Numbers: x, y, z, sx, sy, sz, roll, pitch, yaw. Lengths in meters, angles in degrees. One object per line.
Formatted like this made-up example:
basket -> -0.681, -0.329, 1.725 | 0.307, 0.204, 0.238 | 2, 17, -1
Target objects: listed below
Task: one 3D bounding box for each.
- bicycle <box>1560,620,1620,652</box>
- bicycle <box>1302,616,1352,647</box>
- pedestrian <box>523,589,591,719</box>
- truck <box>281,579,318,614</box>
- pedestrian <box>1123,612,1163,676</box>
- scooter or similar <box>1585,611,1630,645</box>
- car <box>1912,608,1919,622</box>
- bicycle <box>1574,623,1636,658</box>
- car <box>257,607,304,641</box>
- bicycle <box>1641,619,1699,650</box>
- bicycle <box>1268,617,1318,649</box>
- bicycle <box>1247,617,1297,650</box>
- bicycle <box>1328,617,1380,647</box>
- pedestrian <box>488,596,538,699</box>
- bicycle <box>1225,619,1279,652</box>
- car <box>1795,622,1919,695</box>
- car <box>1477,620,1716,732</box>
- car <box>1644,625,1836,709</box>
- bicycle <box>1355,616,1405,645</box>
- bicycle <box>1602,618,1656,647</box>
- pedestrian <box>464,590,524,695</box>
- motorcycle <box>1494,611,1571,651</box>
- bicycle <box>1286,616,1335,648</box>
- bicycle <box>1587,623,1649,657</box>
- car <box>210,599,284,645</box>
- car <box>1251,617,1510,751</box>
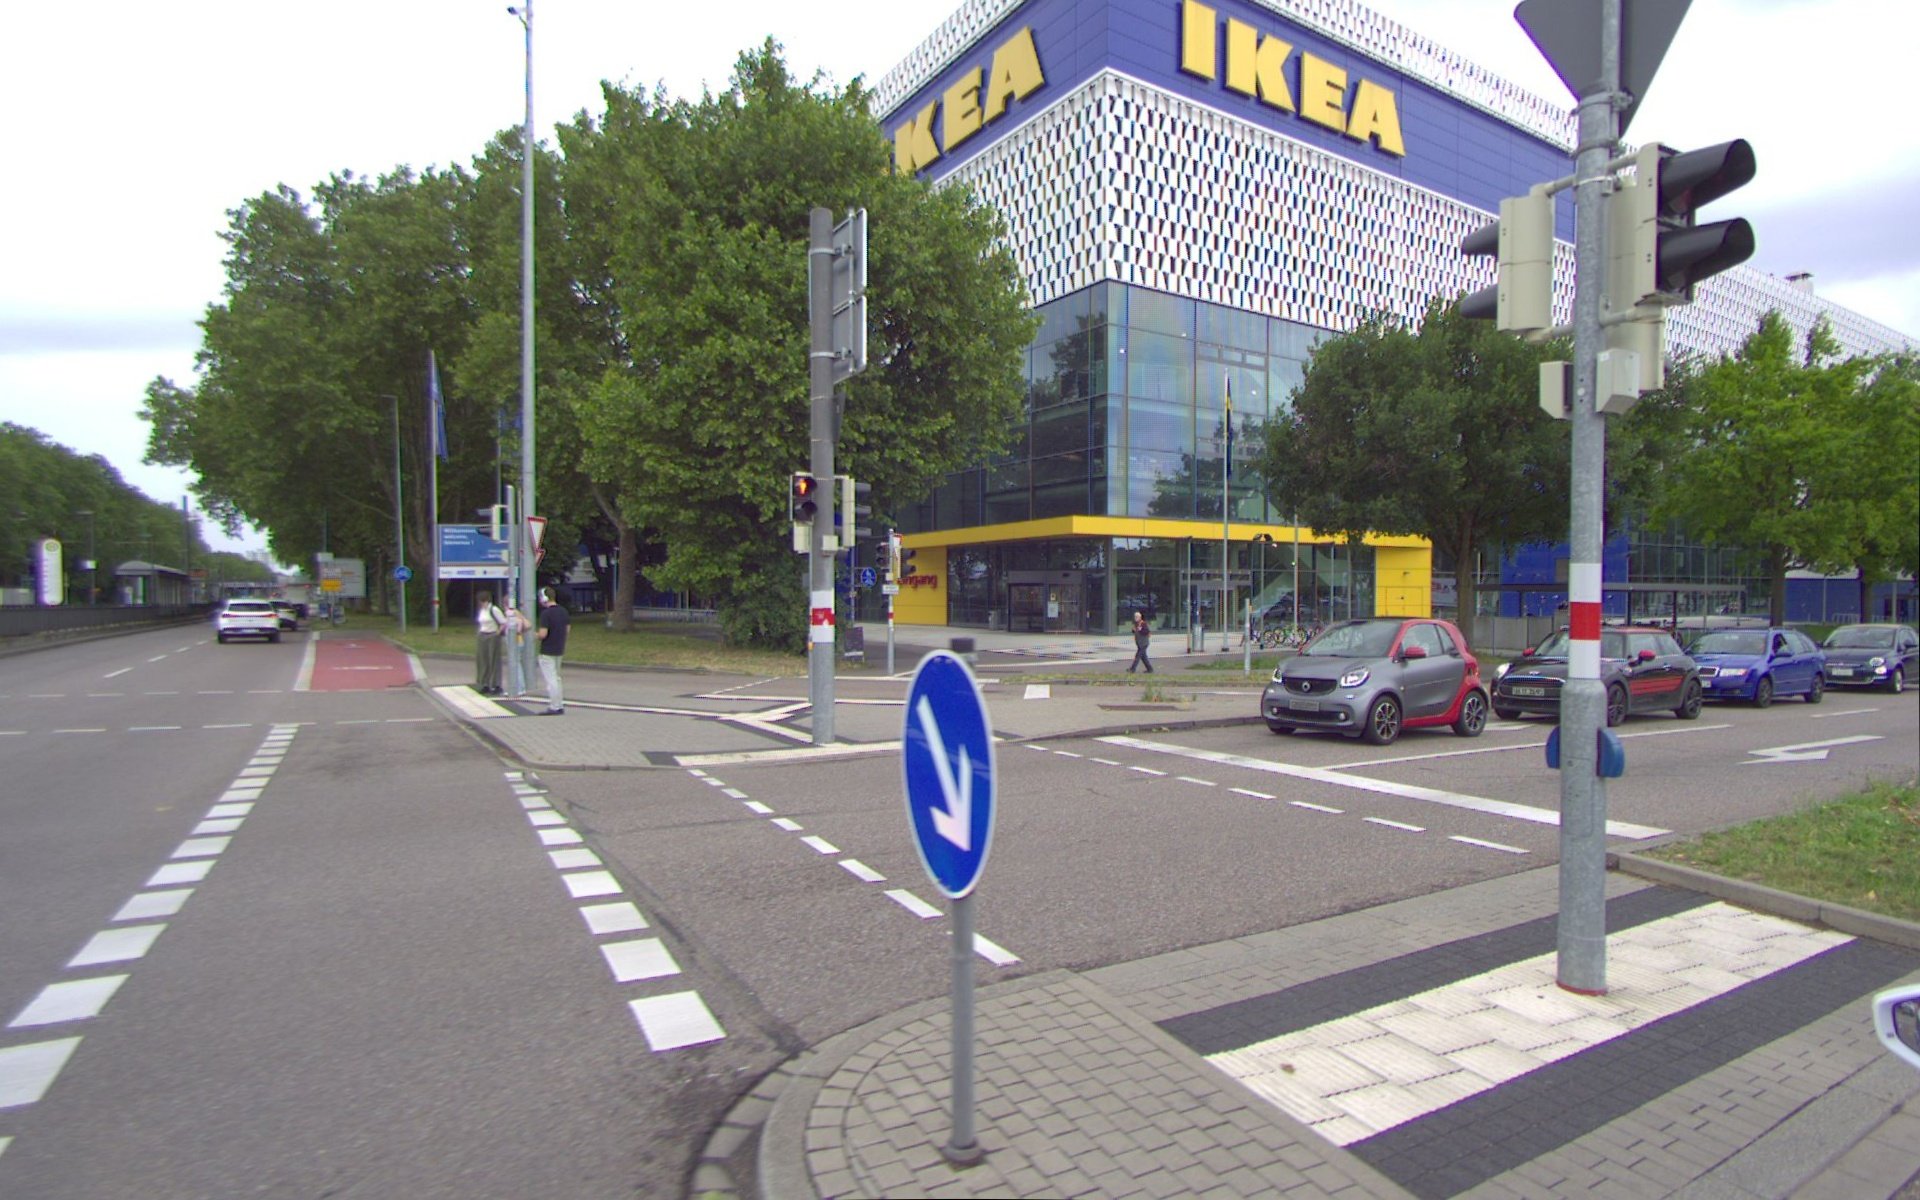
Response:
bicycle -> 25.785, 1.449, 41.140 | 0.587, 1.172, 2.005 | 0, 3, -30
bicycle -> 15.476, 1.321, 42.407 | 0.587, 1.172, 2.004 | 0, 2, -32
pedestrian -> -5.757, 0.771, 14.384 | 0.674, 1.788, 0.664 | 3, -3, -8
truck -> -75.091, -0.330, 114.304 | 3.227, 3.712, 9.807 | 2, -1, -33
pedestrian -> 4.920, 1.179, 26.984 | 0.801, 1.664, 0.629 | 2, 0, -34
scooter or similar -> 23.694, 1.013, 36.754 | 1.322, 1.164, 0.424 | 2, 2, 1
car -> 125.812, 2.000, 129.829 | 1.860, 1.770, 3.738 | -2, 2, -33
bicycle -> 24.643, 1.530, 38.404 | 0.587, 1.172, 1.884 | 0, 3, -30
car -> -35.262, 1.228, 52.086 | 1.781, 1.606, 4.099 | 3, -1, -37
bicycle -> 29.764, 1.436, 42.144 | 0.584, 1.172, 2.015 | 1, 2, -16
bicycle -> 13.609, 1.327, 41.156 | 0.587, 1.172, 2.004 | 0, 2, -32
bicycle -> 12.627, 1.331, 40.671 | 0.587, 1.172, 2.004 | 0, 2, -32
bicycle -> 16.871, 1.362, 43.083 | 0.589, 1.172, 1.996 | -1, 3, -43
pedestrian -> -7.789, 0.812, 17.497 | 0.756, 1.734, 0.671 | 1, 0, -27
bicycle -> 11.553, 1.377, 39.784 | 1.994, 1.172, 0.590 | 3, 3, 43
car -> 20.998, 1.289, 23.107 | 3.992, 1.517, 1.594 | 0, -1, -32
car -> 10.015, 1.101, 15.729 | 4.021, 1.523, 1.652 | 1, 0, -33
car -> 14.989, 1.216, 19.254 | 4.097, 1.463, 1.594 | 1, -2, -32
bicycle -> 18.561, 1.326, 44.437 | 0.588, 1.172, 2.001 | 0, 2, -37
bicycle -> 28.839, 1.386, 43.320 | 0.587, 1.097, 1.800 | 0, 3, -30
pedestrian -> -8.339, 0.740, 17.967 | 0.761, 1.821, 0.667 | 2, 0, -44
motorcycle -> 22.596, 1.203, 39.673 | 0.794, 1.374, 2.468 | -1, 3, -43
bicycle -> 14.544, 1.323, 41.722 | 0.587, 1.172, 2.004 | 0, 2, -32
bicycle -> 25.521, 1.548, 38.989 | 0.587, 1.172, 1.884 | 0, 3, -30
car -> -26.739, 0.789, 37.627 | 1.878, 1.607, 4.358 | 1, 0, -40
car -> 5.478, 0.990, 13.023 | 3.175, 1.523, 1.593 | 0, -1, -33
